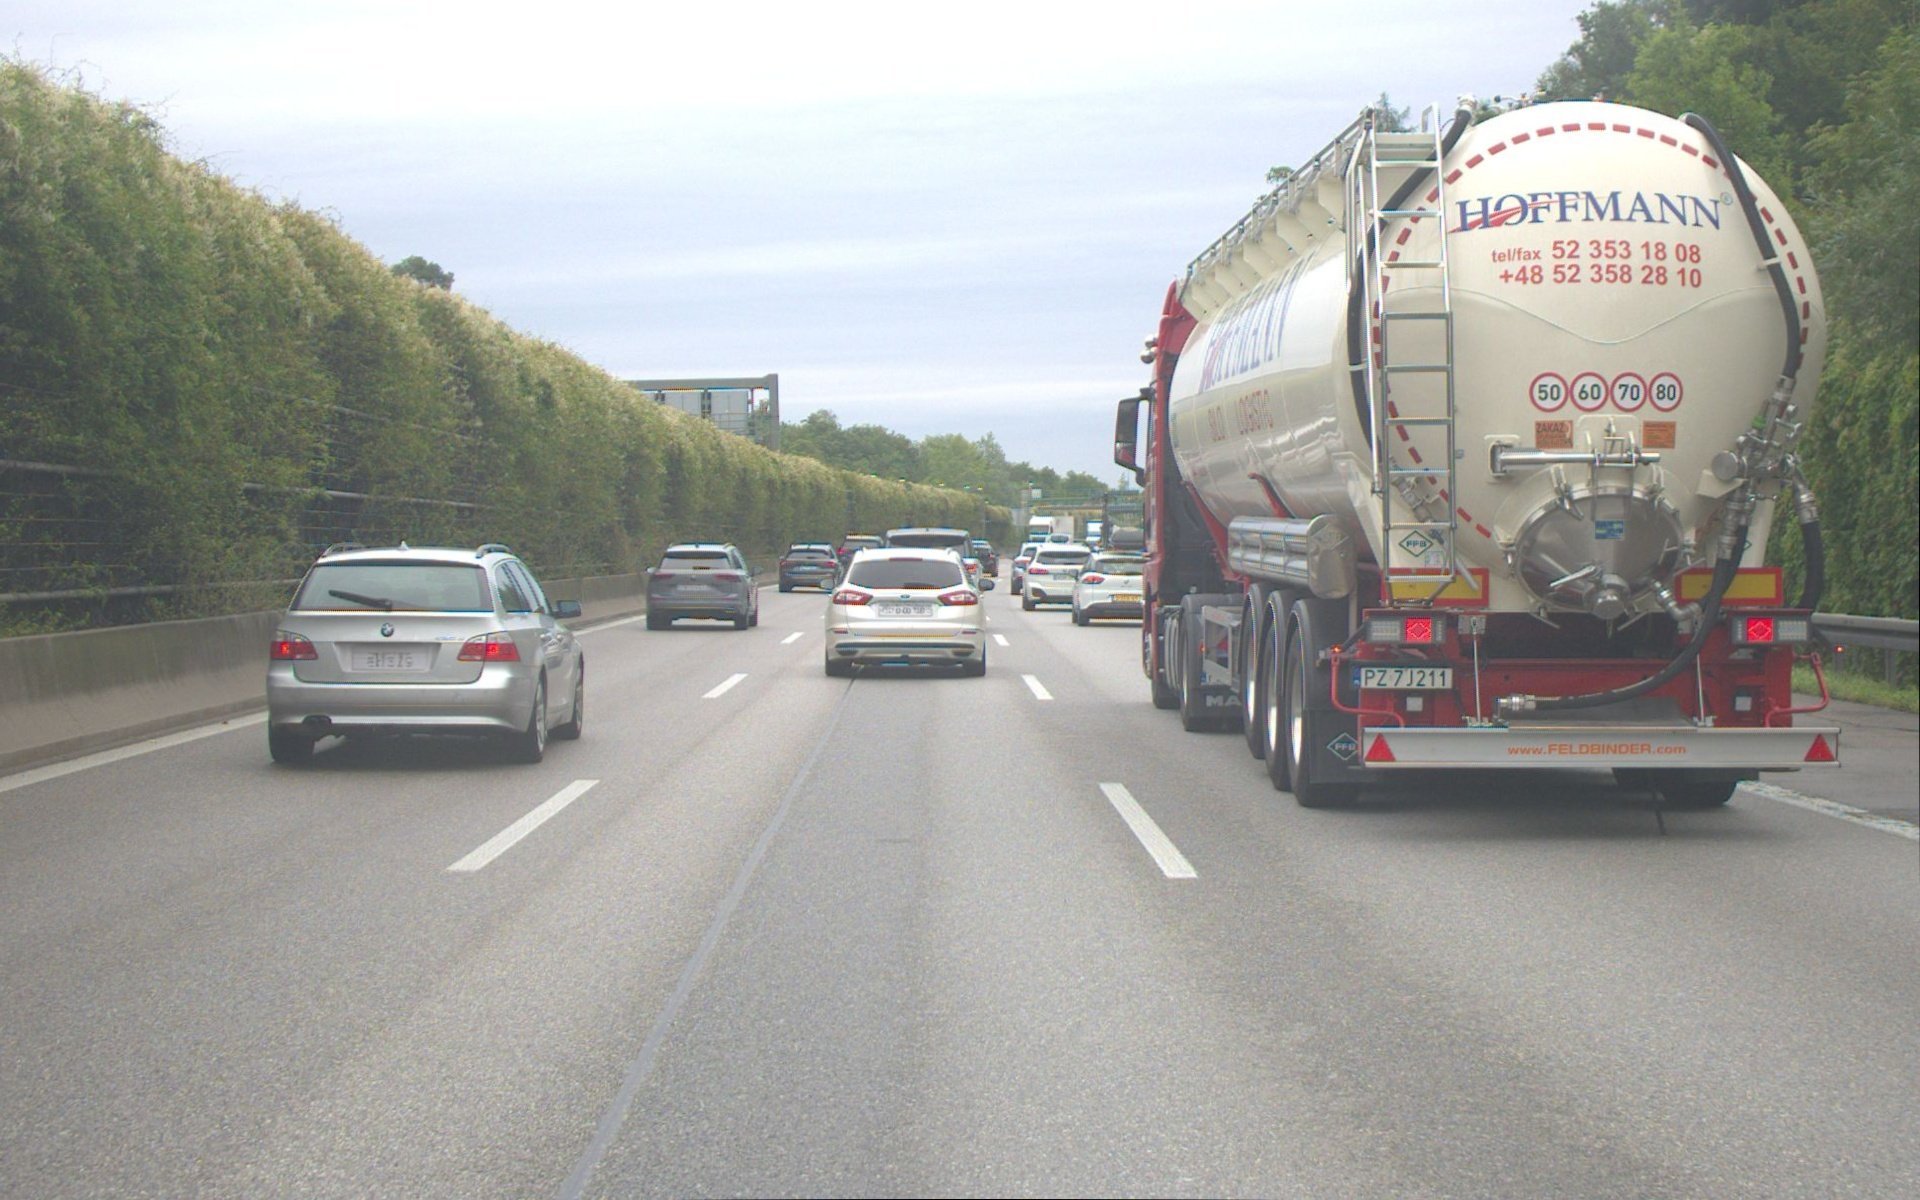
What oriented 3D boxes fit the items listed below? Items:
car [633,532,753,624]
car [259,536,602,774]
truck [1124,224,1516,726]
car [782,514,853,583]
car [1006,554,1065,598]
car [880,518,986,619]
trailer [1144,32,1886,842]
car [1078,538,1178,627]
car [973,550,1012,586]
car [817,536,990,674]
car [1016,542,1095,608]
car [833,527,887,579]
[{"bbox_3d":[-4.575,-0.407,59.530,1.720,1.507,5.030,1,1,-1],"label":"car"},{"bbox_3d":[-3.682,0.309,24.699,1.720,1.464,5.031,1,2,-1],"label":"car"},{"bbox_3d":[2.978,-1.014,30.238,2.695,3.899,6.556,1,1,0],"label":"truck"},{"bbox_3d":[-4.240,-1.542,102.712,1.993,2.007,3.841,0,1,0],"label":"car"},{"bbox_3d":[2.323,-0.743,106.420,1.689,1.326,3.871,1,1,-1],"label":"car"},{"bbox_3d":[-0.476,-0.575,60.155,1.689,1.501,3.872,5,2,-1],"label":"car"},{"bbox_3d":[3.069,-0.869,23.384,2.668,3.925,13.131,1,1,-1],"label":"trailer"},{"bbox_3d":[3.189,-0.368,65.793,1.816,1.620,5.030,1,1,2],"label":"car"},{"bbox_3d":[1.438,-1.458,155.023,1.689,1.534,3.872,1,1,0],"label":"car"},{"bbox_3d":[-0.659,0.009,40.424,1.891,1.499,5.030,1,1,-1],"label":"car"},{"bbox_3d":[2.232,-0.605,81.224,1.689,1.501,3.871,1,1,-1],"label":"car"},{"bbox_3d":[-3.862,-1.836,133.535,1.993,2.007,4.000,0,1,0],"label":"car"}]
